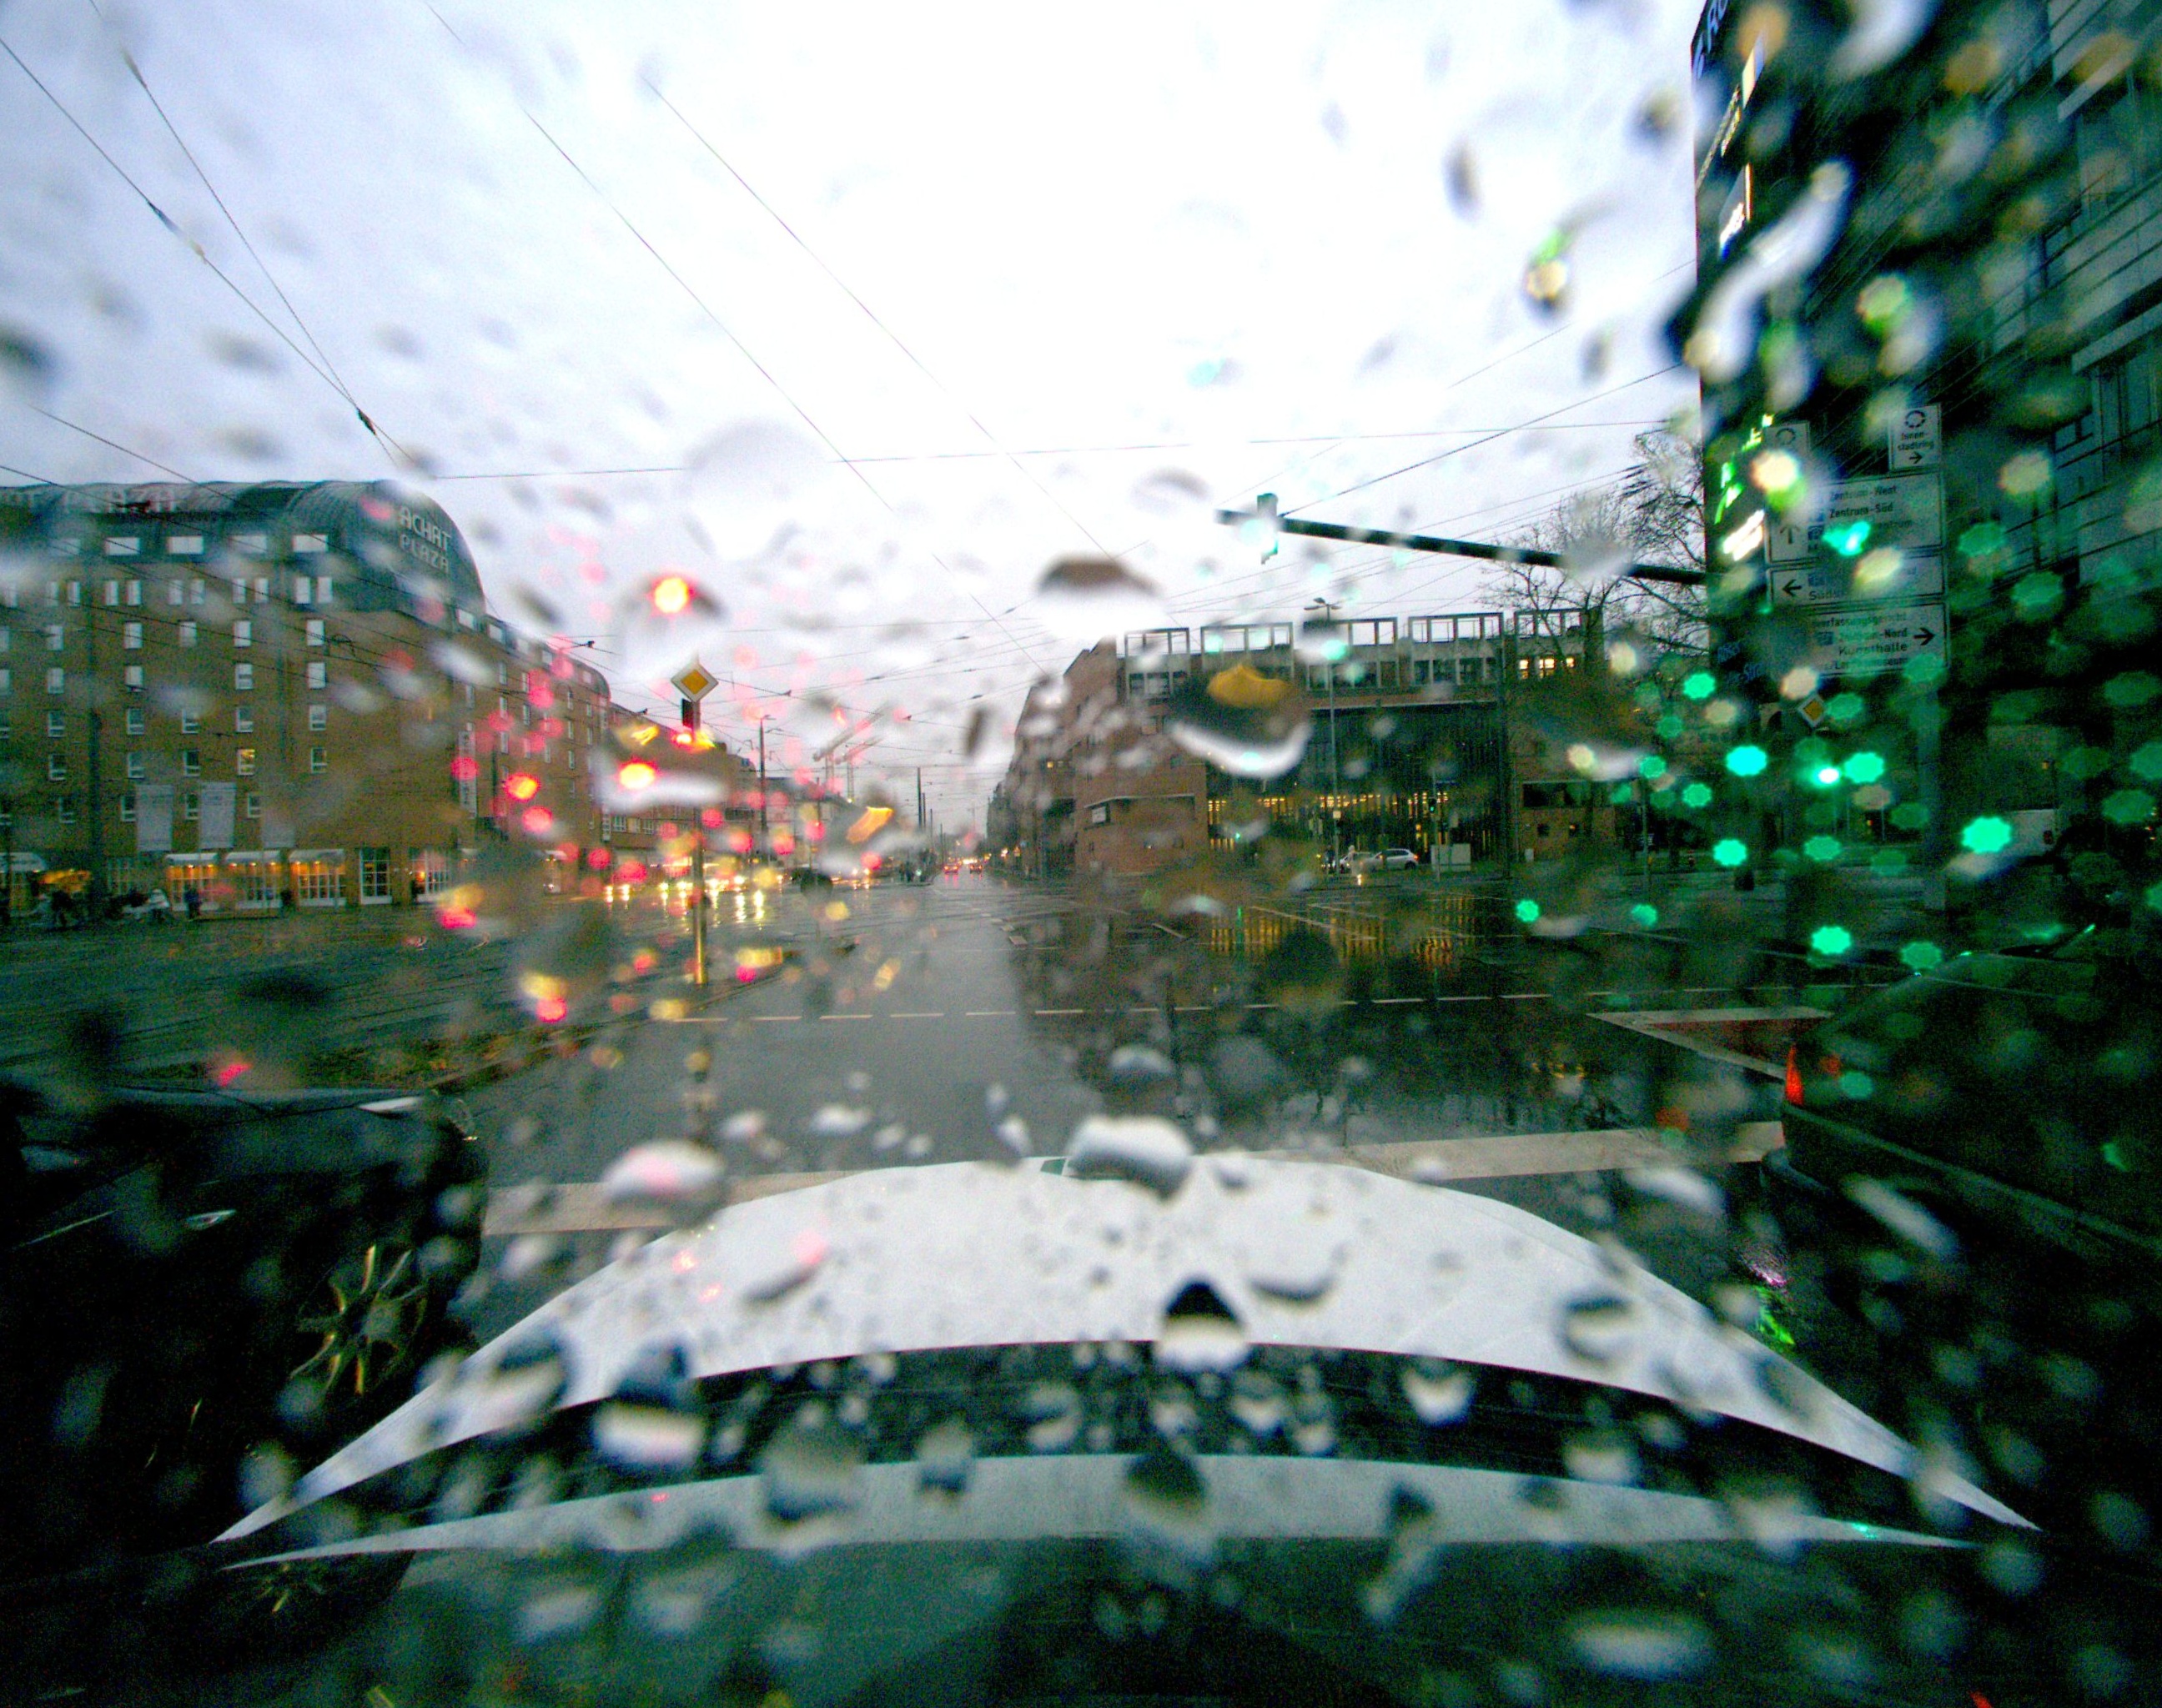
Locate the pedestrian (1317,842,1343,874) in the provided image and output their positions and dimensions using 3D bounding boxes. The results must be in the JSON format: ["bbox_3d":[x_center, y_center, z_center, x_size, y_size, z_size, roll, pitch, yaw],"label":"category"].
[{"bbox_3d":[14.132,0.240,46.308,1.148,1.787,0.775,-2,0,-8],"label":"pedestrian"}]

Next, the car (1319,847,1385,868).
[{"bbox_3d":[18.704,0.272,56.277,3.977,1.310,1.810,-2,0,-7],"label":"car"}]

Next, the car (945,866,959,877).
[{"bbox_3d":[-18.683,2.492,117.848,1.782,1.467,3.141,-2,0,-7],"label":"car"}]

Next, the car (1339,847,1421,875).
[{"bbox_3d":[17.281,0.405,47.156,3.976,1.341,1.810,-4,0,-6],"label":"car"}]

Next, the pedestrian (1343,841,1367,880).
[{"bbox_3d":[12.867,0.298,38.209,0.734,1.787,0.732,-2,0,-12],"label":"pedestrian"}]

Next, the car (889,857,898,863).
[{"bbox_3d":[-40.764,1.372,177.464,1.681,1.354,3.534,-1,-1,-9],"label":"car"}]

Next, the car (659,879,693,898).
[{"bbox_3d":[-35.441,2.996,71.346,1.580,1.495,3.586,-2,0,-7],"label":"car"}]

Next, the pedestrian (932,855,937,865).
[{"bbox_3d":[-23.168,0.923,128.833,0.682,1.516,0.614,-1,-1,-21],"label":"pedestrian"}]

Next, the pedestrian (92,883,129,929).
[{"bbox_3d":[-43.673,2.339,36.654,0.755,2.014,0.706,-2,-1,-5],"label":"pedestrian"}]

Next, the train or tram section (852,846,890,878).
[{"bbox_3d":[-25.139,0.999,98.049,2.948,3.589,12.220,0,0,-8],"label":"train or tram section"}]

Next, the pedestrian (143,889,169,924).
[{"bbox_3d":[-42.268,2.404,37.214,0.515,1.538,0.577,-2,0,10],"label":"pedestrian"}]

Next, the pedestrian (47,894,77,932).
[{"bbox_3d":[-43.093,2.500,34.440,0.515,1.538,0.577,-2,0,10],"label":"pedestrian"}]

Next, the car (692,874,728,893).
[{"bbox_3d":[-32.537,2.559,71.470,1.667,1.495,4.190,-2,0,-7],"label":"car"}]

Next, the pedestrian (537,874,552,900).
[{"bbox_3d":[-42.618,2.619,64.661,0.939,2.014,0.751,-2,-1,-32],"label":"pedestrian"}]

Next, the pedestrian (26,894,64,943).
[{"bbox_3d":[-43.762,2.723,34.414,0.699,2.014,0.763,-2,-1,17],"label":"pedestrian"}]

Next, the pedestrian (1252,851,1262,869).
[{"bbox_3d":[13.659,0.460,63.217,0.732,1.389,0.740,-2,0,12],"label":"pedestrian"}]

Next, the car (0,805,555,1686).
[{"bbox_3d":[-2.813,0.727,1.021,1.673,1.573,3.763,-2,0,3],"label":"car"}]

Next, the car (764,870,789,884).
[{"bbox_3d":[-30.334,2.266,81.163,1.681,1.354,3.534,-1,-1,-9],"label":"car"}]

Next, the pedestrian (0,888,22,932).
[{"bbox_3d":[-50.719,2.625,38.319,0.742,2.014,0.719,-2,-1,-2],"label":"pedestrian"}]

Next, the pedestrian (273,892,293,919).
[{"bbox_3d":[-46.036,2.973,46.978,0.515,1.538,0.577,-2,0,10],"label":"pedestrian"}]

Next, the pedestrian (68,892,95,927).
[{"bbox_3d":[-45.617,2.544,37.169,0.515,1.538,0.577,-2,0,10],"label":"pedestrian"}]

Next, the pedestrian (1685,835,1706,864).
[{"bbox_3d":[29.460,-0.199,39.040,0.603,1.364,0.478,-2,0,-1],"label":"pedestrian"}]

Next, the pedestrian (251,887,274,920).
[{"bbox_3d":[-39.930,2.408,39.734,0.515,1.538,0.577,-2,0,10],"label":"pedestrian"}]

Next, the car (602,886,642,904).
[{"bbox_3d":[-40.308,3.593,71.590,1.611,1.321,4.216,-2,0,-8],"label":"car"}]

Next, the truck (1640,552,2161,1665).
[{"bbox_3d":[2.783,0.434,0.425,1.897,1.917,4.618,0,0,1],"label":"truck"}]

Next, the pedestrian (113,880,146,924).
[{"bbox_3d":[-45.433,2.285,38.897,0.699,2.014,0.763,-2,-1,17],"label":"pedestrian"}]

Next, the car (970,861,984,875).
[{"bbox_3d":[-16.589,2.238,130.159,1.991,2.013,3.991,-2,0,-7],"label":"car"}]

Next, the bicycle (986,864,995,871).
[{"bbox_3d":[-17.000,2.549,153.161,1.730,1.055,0.370,-3,0,-10],"label":"bicycle"}]

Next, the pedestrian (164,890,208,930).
[{"bbox_3d":[-44.793,2.791,40.782,0.852,1.899,1.165,-2,0,10],"label":"pedestrian"}]

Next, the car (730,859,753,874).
[{"bbox_3d":[-47.961,1.775,115.139,1.993,2.014,3.988,0,-1,-9],"label":"car"}]

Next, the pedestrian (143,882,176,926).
[{"bbox_3d":[-43.145,2.319,38.133,0.699,2.014,0.763,-2,-1,17],"label":"pedestrian"}]

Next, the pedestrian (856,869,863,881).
[{"bbox_3d":[-21.340,2.011,78.376,0.579,1.152,0.489,0,-1,-7],"label":"pedestrian"}]

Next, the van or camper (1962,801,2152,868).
[{"bbox_3d":[30.610,-0.601,25.585,4.736,1.929,1.834,-2,0,-12],"label":"van or camper"}]

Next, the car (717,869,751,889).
[{"bbox_3d":[-33.601,2.388,78.976,1.828,1.709,4.690,-2,0,-9],"label":"car"}]
